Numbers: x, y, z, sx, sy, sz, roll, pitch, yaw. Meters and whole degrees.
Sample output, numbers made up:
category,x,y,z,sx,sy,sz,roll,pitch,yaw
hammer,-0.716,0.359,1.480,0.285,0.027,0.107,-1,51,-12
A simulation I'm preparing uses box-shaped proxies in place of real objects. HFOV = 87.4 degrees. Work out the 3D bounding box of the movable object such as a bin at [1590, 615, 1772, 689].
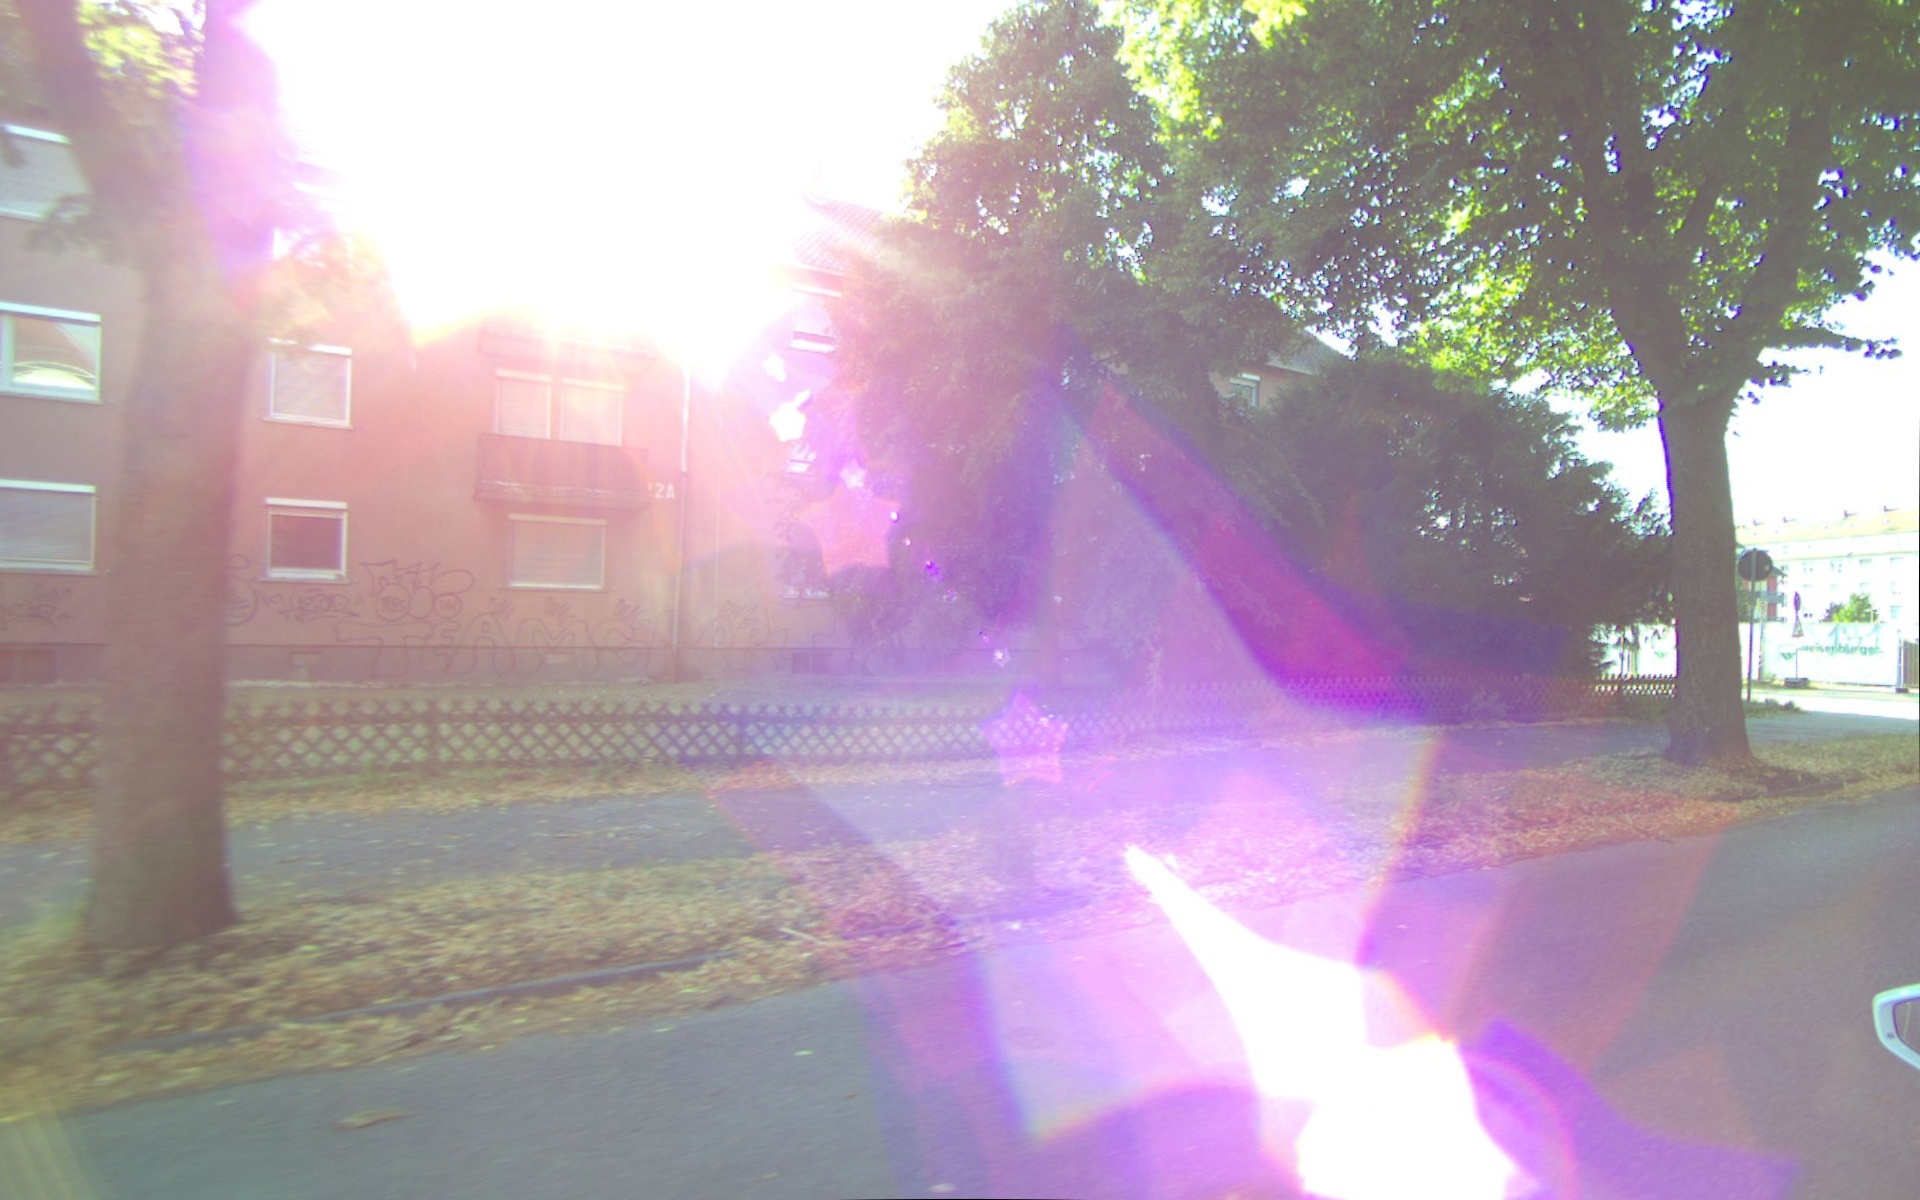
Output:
category,x,y,z,sx,sy,sz,roll,pitch,yaw
movable object such as a bin,50.954,3.701,71.100,11.346,5.057,3.017,1,-4,-7
